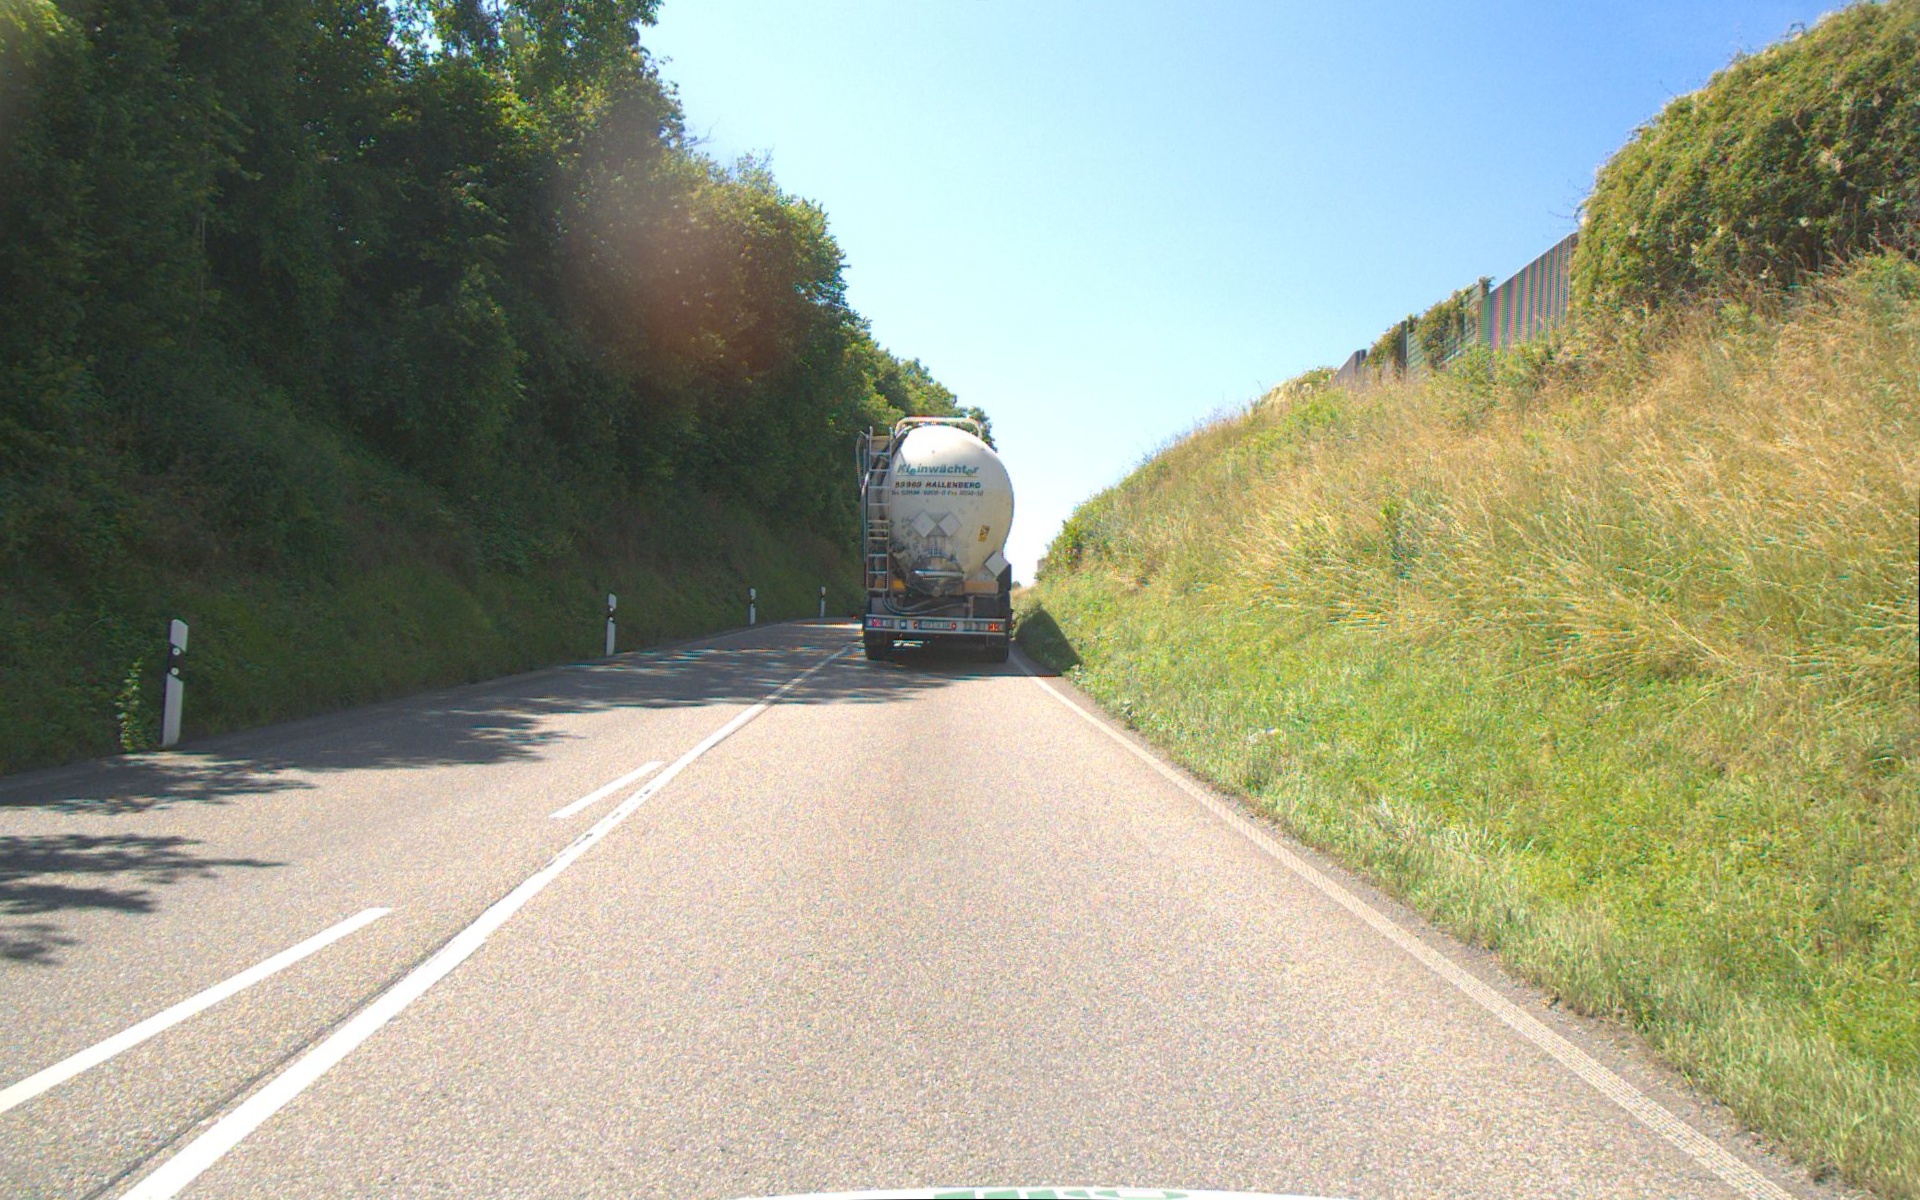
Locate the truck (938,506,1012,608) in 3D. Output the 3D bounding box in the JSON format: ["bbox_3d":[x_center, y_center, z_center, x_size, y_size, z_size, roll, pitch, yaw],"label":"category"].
[{"bbox_3d":[0.781,-1.988,78.818,3.124,4.384,11.802,2,1,1],"label":"truck"}]

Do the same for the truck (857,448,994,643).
[{"bbox_3d":[-0.636,-1.237,37.683,2.670,3.997,7.266,1,2,2],"label":"truck"}]

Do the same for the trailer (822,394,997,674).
[{"bbox_3d":[-0.731,-1.201,31.590,2.606,4.261,11.906,1,2,0],"label":"trailer"}]
